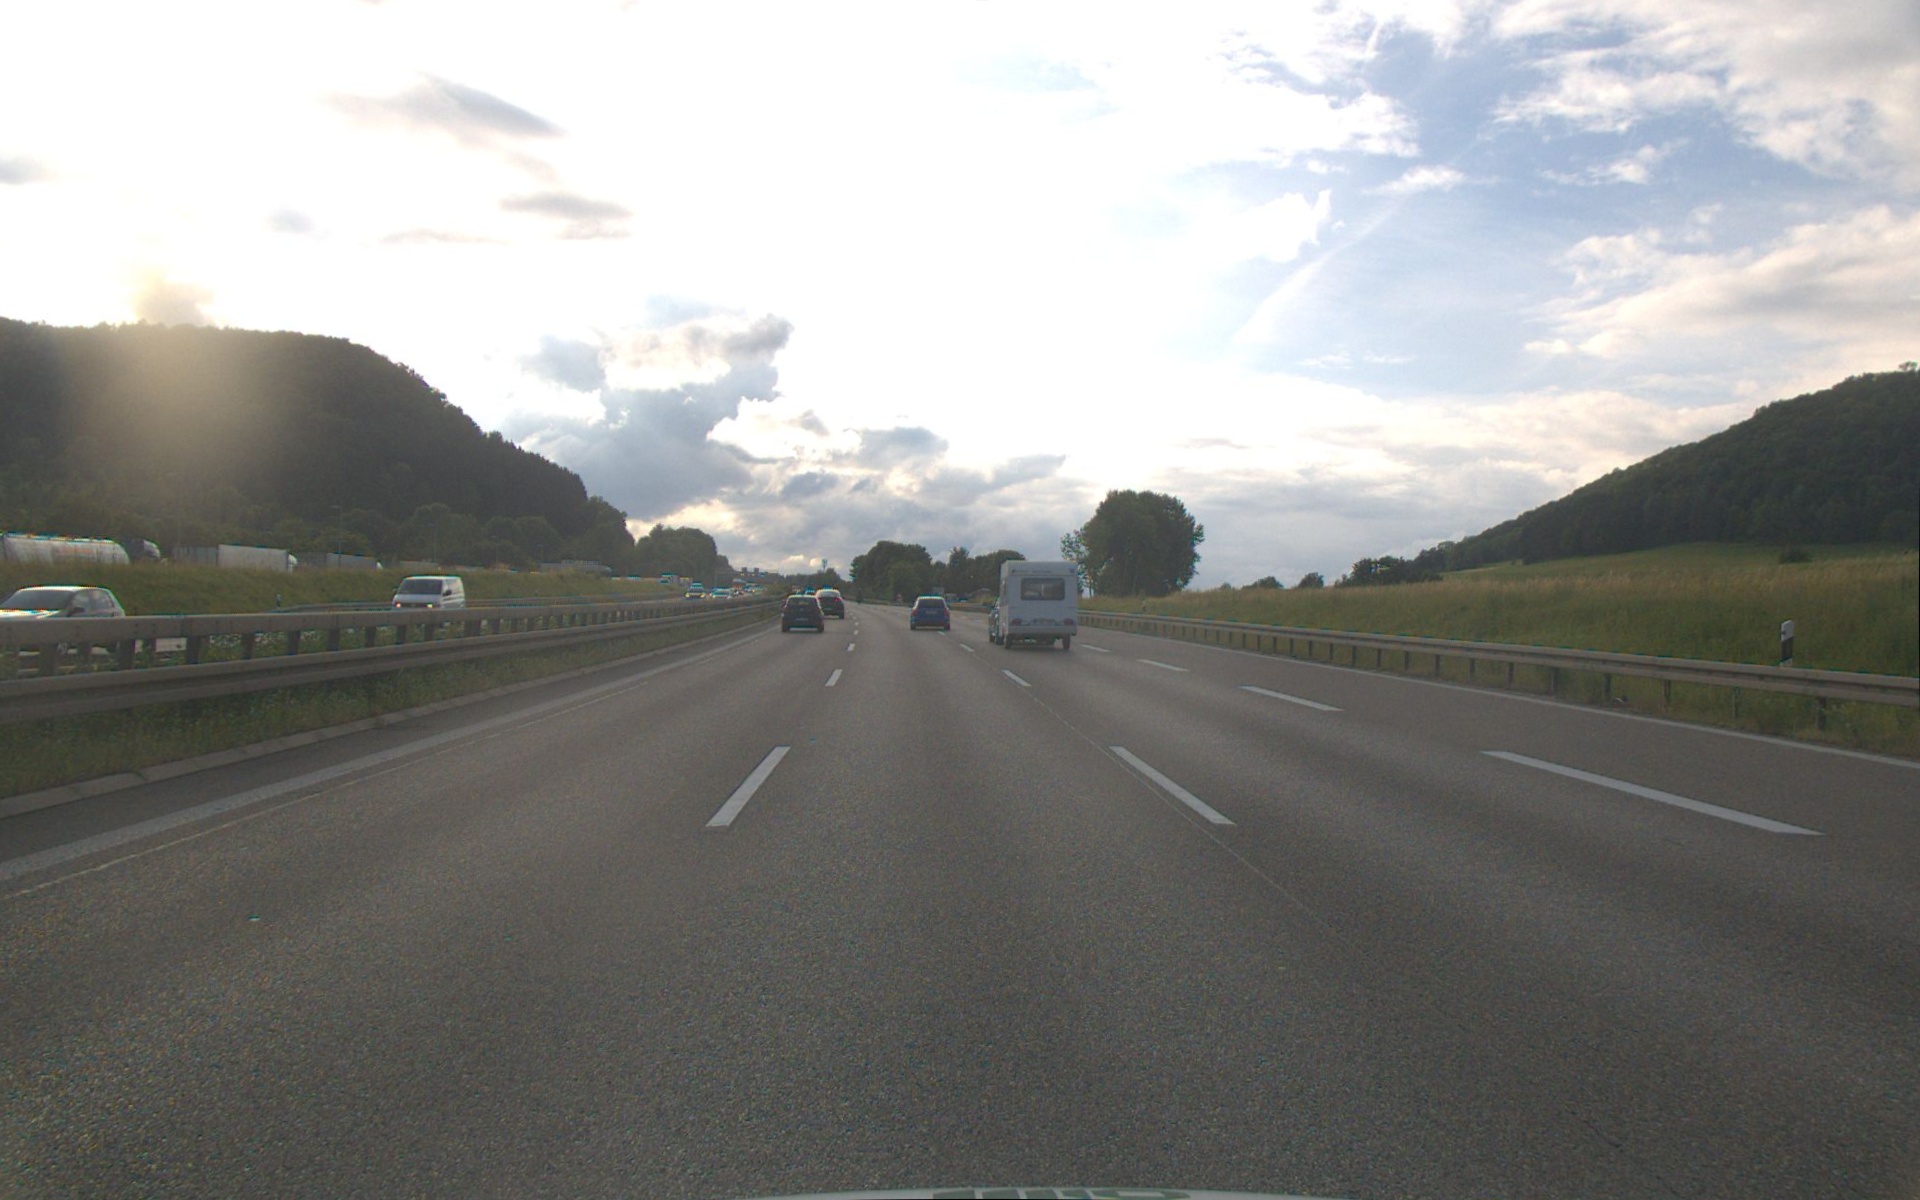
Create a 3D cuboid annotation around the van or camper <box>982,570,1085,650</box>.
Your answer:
[{"bbox_3d":[2.148,0.290,50.254,2.498,2.278,5.324,1,0,-4],"label":"van or camper"}]

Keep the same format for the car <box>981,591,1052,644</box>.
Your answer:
[{"bbox_3d":[1.839,0.548,55.208,1.752,1.681,4.476,1,0,-6],"label":"car"}]

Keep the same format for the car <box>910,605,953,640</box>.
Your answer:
[{"bbox_3d":[-1.268,0.978,72.689,1.732,1.458,3.997,-1,0,-3],"label":"car"}]

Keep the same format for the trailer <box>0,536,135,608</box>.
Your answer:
[{"bbox_3d":[-42.384,-1.180,77.154,2.528,2.903,12.249,1,-1,-5],"label":"trailer"}]

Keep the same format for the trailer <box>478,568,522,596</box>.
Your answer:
[{"bbox_3d":[-52.857,-2.025,190.345,2.821,2.903,11.367,1,-1,-5],"label":"trailer"}]

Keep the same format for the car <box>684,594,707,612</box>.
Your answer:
[{"bbox_3d":[-25.954,0.278,162.316,1.771,1.642,4.337,1,-1,-4],"label":"car"}]

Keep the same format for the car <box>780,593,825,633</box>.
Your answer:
[{"bbox_3d":[-6.318,0.504,66.563,1.507,1.371,3.677,1,3,-1],"label":"car"}]

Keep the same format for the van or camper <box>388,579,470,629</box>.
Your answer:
[{"bbox_3d":[-20.766,0.152,64.848,1.877,1.906,4.752,0,0,-3],"label":"van or camper"}]

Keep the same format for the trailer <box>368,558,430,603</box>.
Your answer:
[{"bbox_3d":[-49.049,-1.697,144.878,2.821,3.761,10.361,0,0,-5],"label":"trailer"}]

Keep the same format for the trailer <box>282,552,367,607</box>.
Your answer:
[{"bbox_3d":[-47.338,-1.394,123.632,2.823,3.761,13.650,-1,0,-8],"label":"trailer"}]

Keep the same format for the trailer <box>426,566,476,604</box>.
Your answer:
[{"bbox_3d":[-51.297,-1.475,166.907,2.821,3.761,10.361,0,0,-5],"label":"trailer"}]

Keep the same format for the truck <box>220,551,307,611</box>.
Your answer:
[{"bbox_3d":[-45.013,-1.150,107.227,2.826,3.755,8.481,0,0,-6],"label":"truck"}]

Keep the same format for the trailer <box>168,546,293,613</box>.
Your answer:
[{"bbox_3d":[-44.407,-1.163,101.288,2.821,3.761,13.659,-1,0,-6],"label":"trailer"}]

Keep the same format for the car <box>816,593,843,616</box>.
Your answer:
[{"bbox_3d":[-7.868,0.257,100.096,1.534,1.404,3.997,0,0,-4],"label":"car"}]

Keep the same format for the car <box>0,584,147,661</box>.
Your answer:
[{"bbox_3d":[-19.357,0.450,35.384,1.955,1.523,4.687,-1,0,-6],"label":"car"}]

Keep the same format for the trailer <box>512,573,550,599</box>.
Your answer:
[{"bbox_3d":[-54.696,-1.727,211.049,2.821,2.903,11.367,1,-1,-5],"label":"trailer"}]
